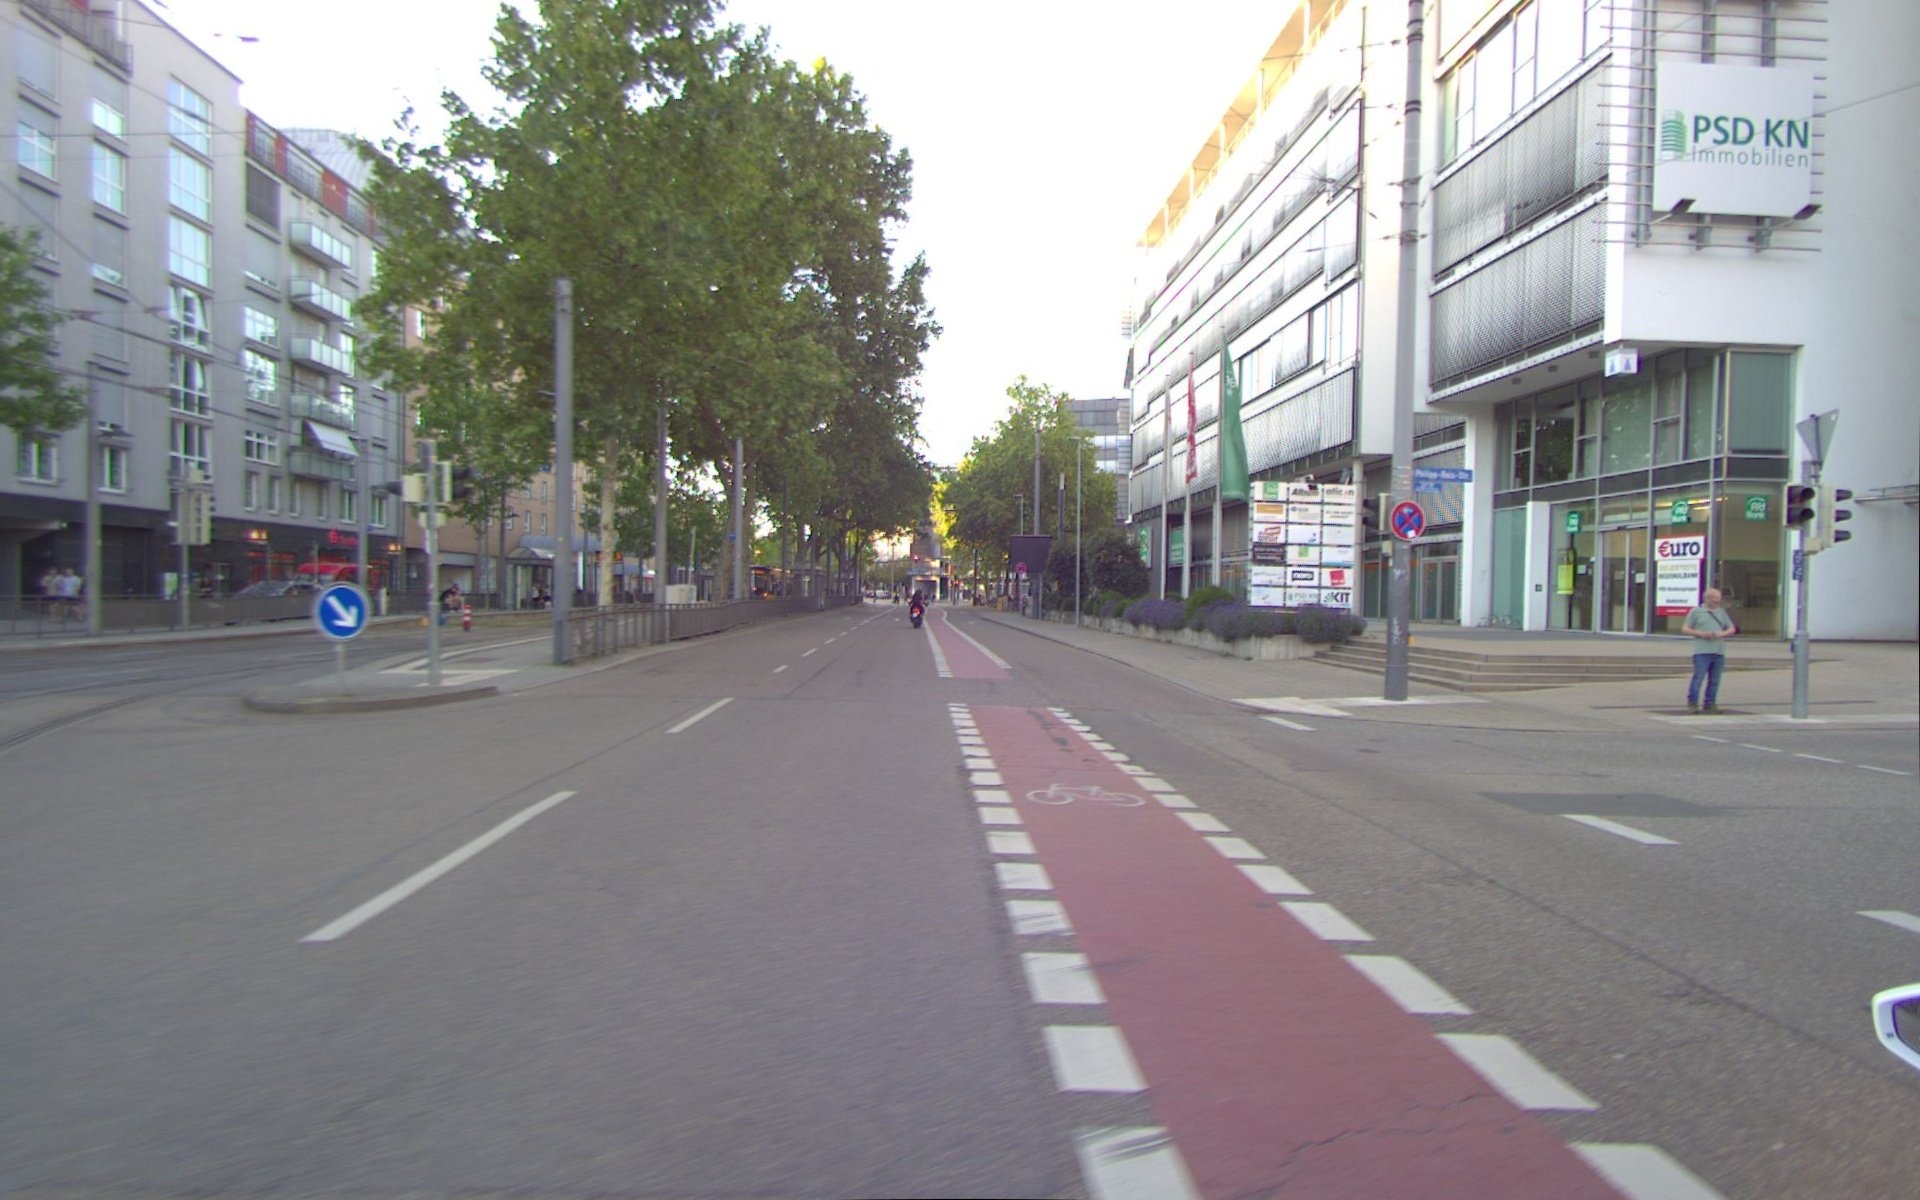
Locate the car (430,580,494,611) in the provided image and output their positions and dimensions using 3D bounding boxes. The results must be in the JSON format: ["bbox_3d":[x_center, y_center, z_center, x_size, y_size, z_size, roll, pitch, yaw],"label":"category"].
[{"bbox_3d":[-27.398,-0.275,55.374,1.634,1.617,4.100,1,0,-3],"label":"car"}]

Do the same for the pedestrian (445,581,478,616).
[{"bbox_3d":[-21.389,-0.049,43.128,0.920,1.473,0.997,1,1,-4],"label":"pedestrian"}]

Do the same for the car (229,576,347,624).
[{"bbox_3d":[-23.929,-0.008,35.936,1.634,1.617,4.100,1,0,-3],"label":"car"}]

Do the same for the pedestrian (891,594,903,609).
[{"bbox_3d":[-8.412,0.217,135.115,1.063,2.041,1.191,2,1,40],"label":"pedestrian"}]

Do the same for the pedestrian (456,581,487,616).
[{"bbox_3d":[-21.470,-0.069,44.144,0.920,1.473,0.997,1,1,-4],"label":"pedestrian"}]

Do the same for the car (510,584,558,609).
[{"bbox_3d":[-28.600,-0.227,67.575,1.634,1.617,4.100,1,0,-3],"label":"car"}]

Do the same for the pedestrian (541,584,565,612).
[{"bbox_3d":[-21.986,-0.118,54.289,0.920,1.473,0.997,1,1,-4],"label":"pedestrian"}]

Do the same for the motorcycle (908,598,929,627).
[{"bbox_3d":[-1.842,0.550,45.056,0.924,1.243,2.171,1,1,-2],"label":"motorcycle"}]

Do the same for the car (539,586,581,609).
[{"bbox_3d":[-29.231,-0.218,73.483,1.634,1.617,4.100,1,0,-3],"label":"car"}]

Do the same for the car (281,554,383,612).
[{"bbox_3d":[-29.702,-0.806,47.727,1.816,2.575,5.080,1,1,-2],"label":"car"}]

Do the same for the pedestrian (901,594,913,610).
[{"bbox_3d":[-7.062,0.246,133.790,1.059,2.041,1.196,1,1,23],"label":"pedestrian"}]

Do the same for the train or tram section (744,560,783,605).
[{"bbox_3d":[-16.379,-1.417,84.104,2.294,3.434,10.522,1,1,-6],"label":"train or tram section"}]

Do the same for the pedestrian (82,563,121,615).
[{"bbox_3d":[-30.607,-0.403,35.839,0.678,1.831,0.835,1,1,-2],"label":"pedestrian"}]

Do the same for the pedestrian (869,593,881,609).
[{"bbox_3d":[-11.471,0.123,134.809,1.063,2.041,1.191,2,1,40],"label":"pedestrian"}]

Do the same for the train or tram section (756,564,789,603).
[{"bbox_3d":[-17.549,-1.517,94.611,2.294,3.434,10.522,1,1,-6],"label":"train or tram section"}]

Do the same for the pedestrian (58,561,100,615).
[{"bbox_3d":[-30.306,-0.400,34.562,0.678,1.831,0.835,1,1,-2],"label":"pedestrian"}]

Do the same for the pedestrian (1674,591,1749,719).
[{"bbox_3d":[10.508,0.749,14.067,0.694,1.724,0.546,1,1,24],"label":"pedestrian"}]

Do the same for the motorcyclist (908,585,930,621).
[{"bbox_3d":[-1.830,0.136,45.039,0.924,1.603,1.028,1,1,-2],"label":"motorcyclist"}]

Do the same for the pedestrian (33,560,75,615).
[{"bbox_3d":[-31.105,-0.425,34.500,0.678,1.831,0.835,1,1,-2],"label":"pedestrian"}]
